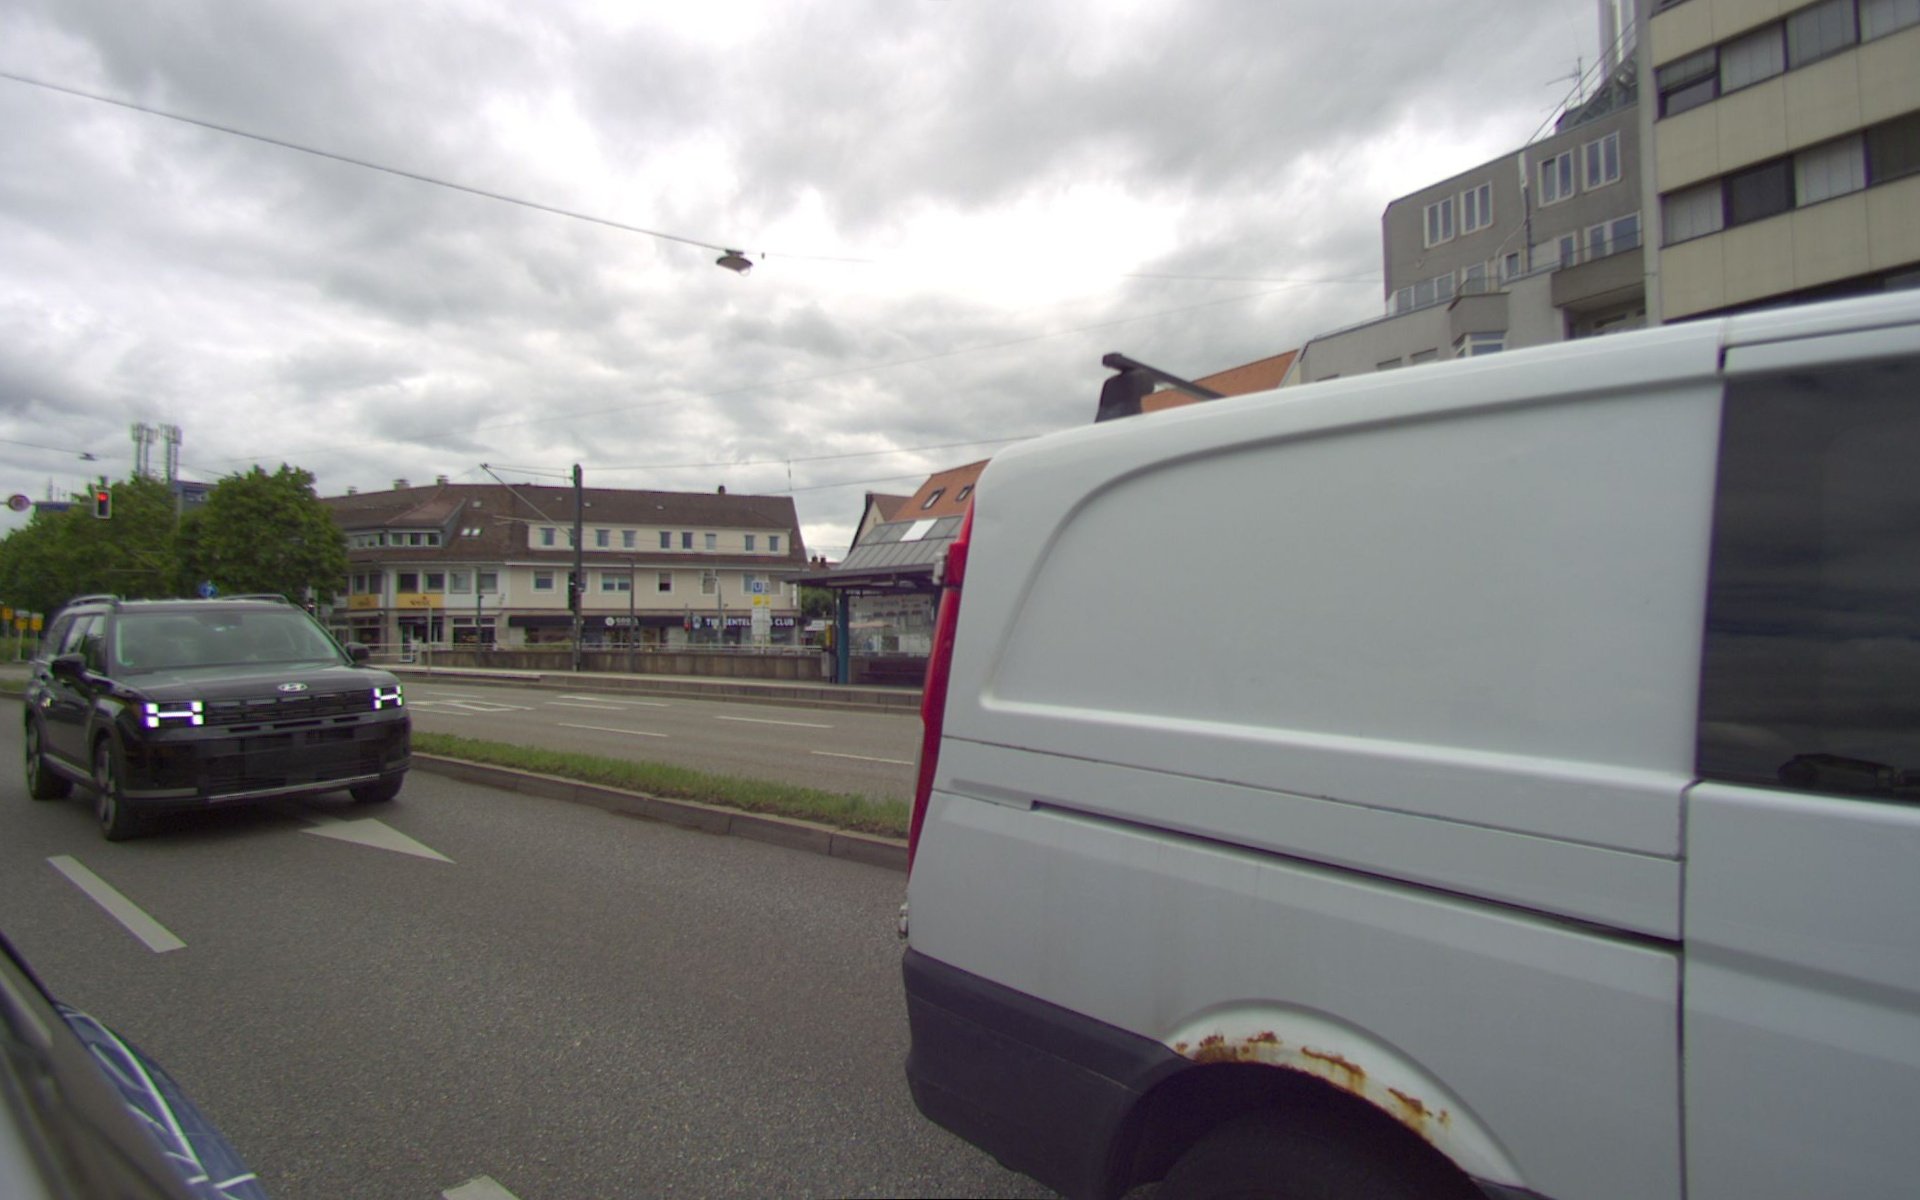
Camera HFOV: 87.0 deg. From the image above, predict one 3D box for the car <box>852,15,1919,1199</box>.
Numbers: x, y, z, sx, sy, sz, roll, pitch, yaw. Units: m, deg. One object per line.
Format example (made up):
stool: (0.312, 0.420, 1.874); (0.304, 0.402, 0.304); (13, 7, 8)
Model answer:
car: (2.326, 0.390, 1.136); (5.071, 2.029, 1.855); (-2, -2, 39)

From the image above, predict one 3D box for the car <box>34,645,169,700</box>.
car: (-25.987, 2.137, 30.585); (4.633, 1.524, 1.976); (-2, -3, 35)

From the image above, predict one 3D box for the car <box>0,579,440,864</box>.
car: (-6.404, 0.823, 8.500); (4.673, 1.765, 1.903); (-3, -1, 39)
